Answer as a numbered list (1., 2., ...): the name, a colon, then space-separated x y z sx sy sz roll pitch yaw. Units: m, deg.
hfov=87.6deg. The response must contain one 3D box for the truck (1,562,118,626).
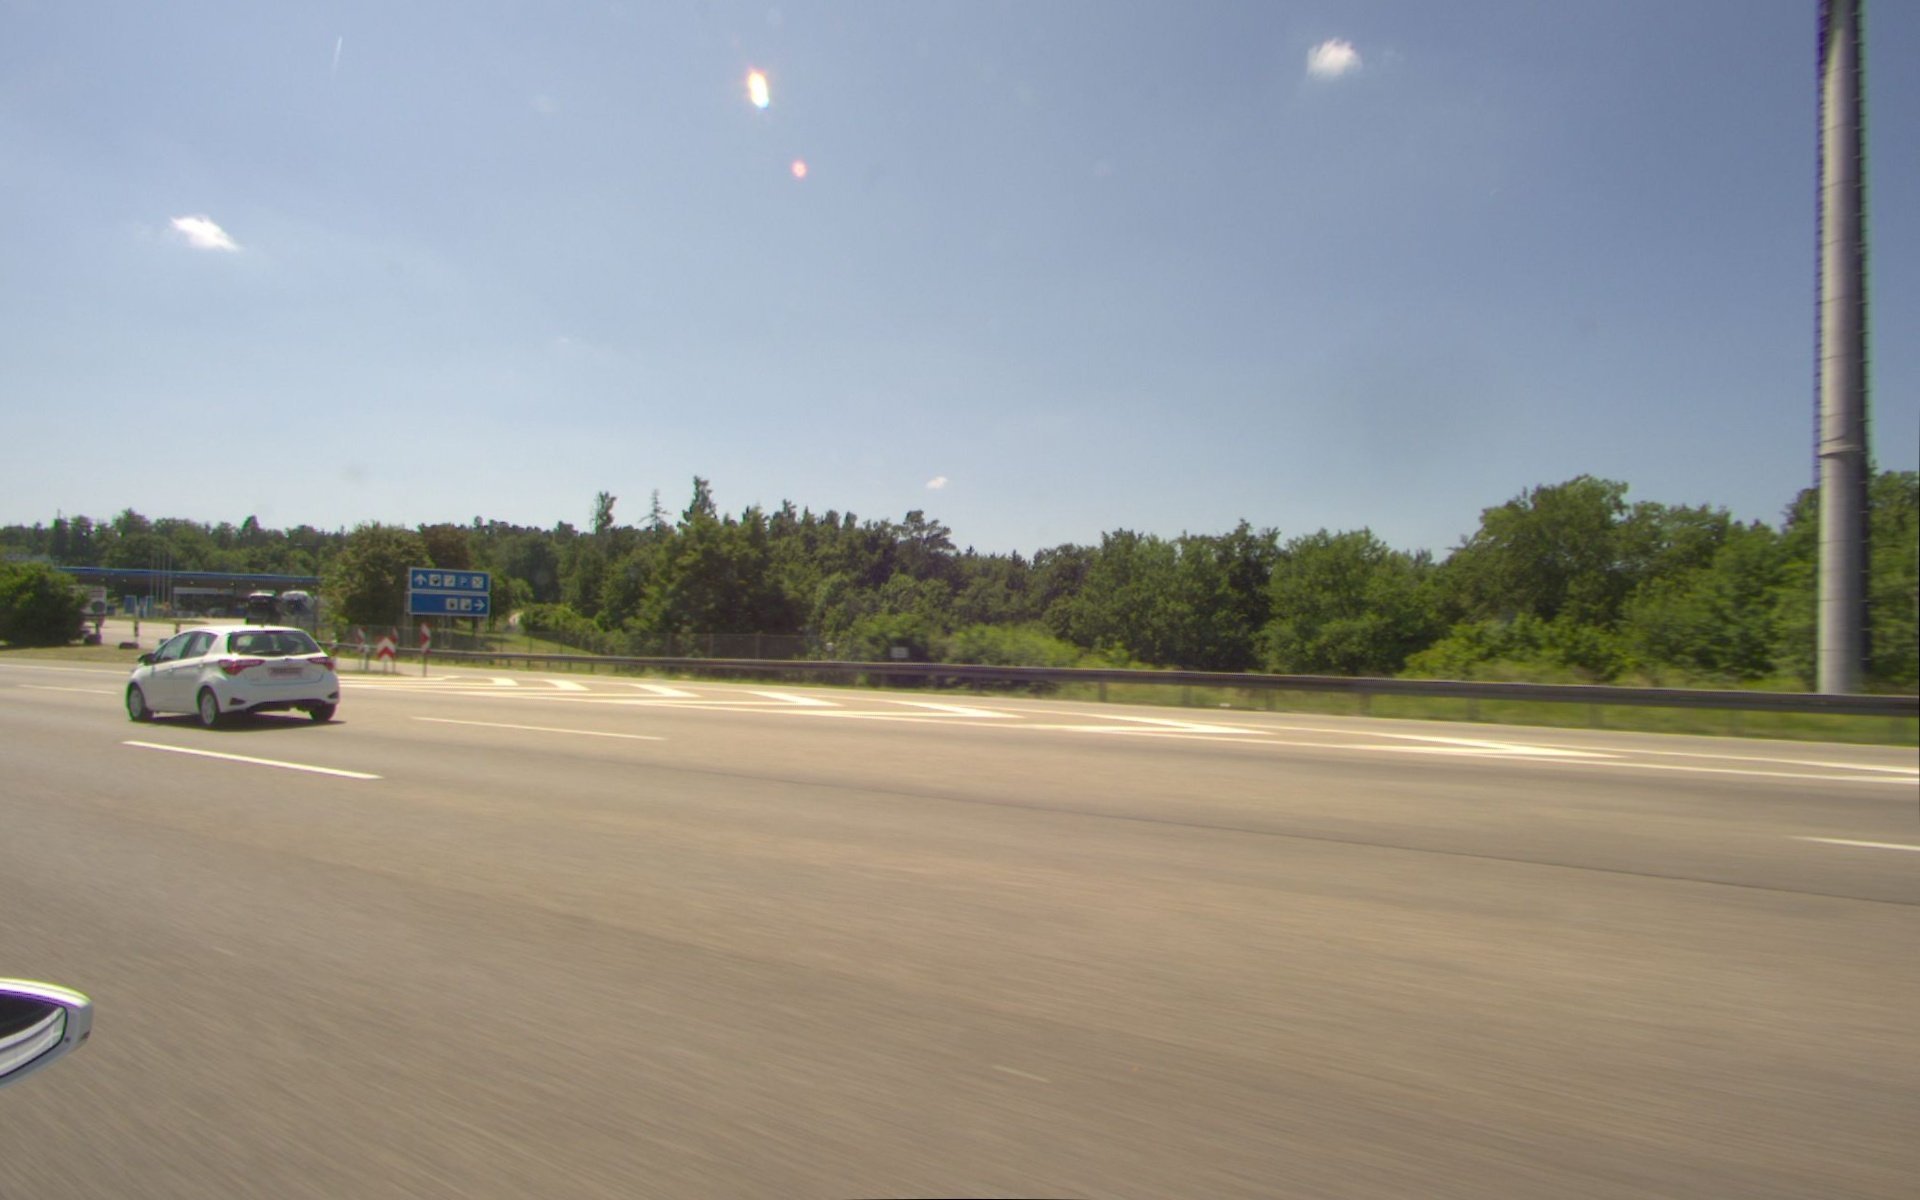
1. truck: -96.002 -0.434 106.618 15.213 6.347 5.497 -1 -1 33

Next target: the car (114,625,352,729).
1. car: -11.515 1.114 15.778 4.315 1.452 1.662 -1 -1 34

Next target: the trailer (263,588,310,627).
1. trailer: -70.519 0.760 104.944 3.040 3.951 5.941 1 0 -24

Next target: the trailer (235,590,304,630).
1. trailer: -67.730 0.897 98.576 3.118 3.685 13.569 1 0 -24
